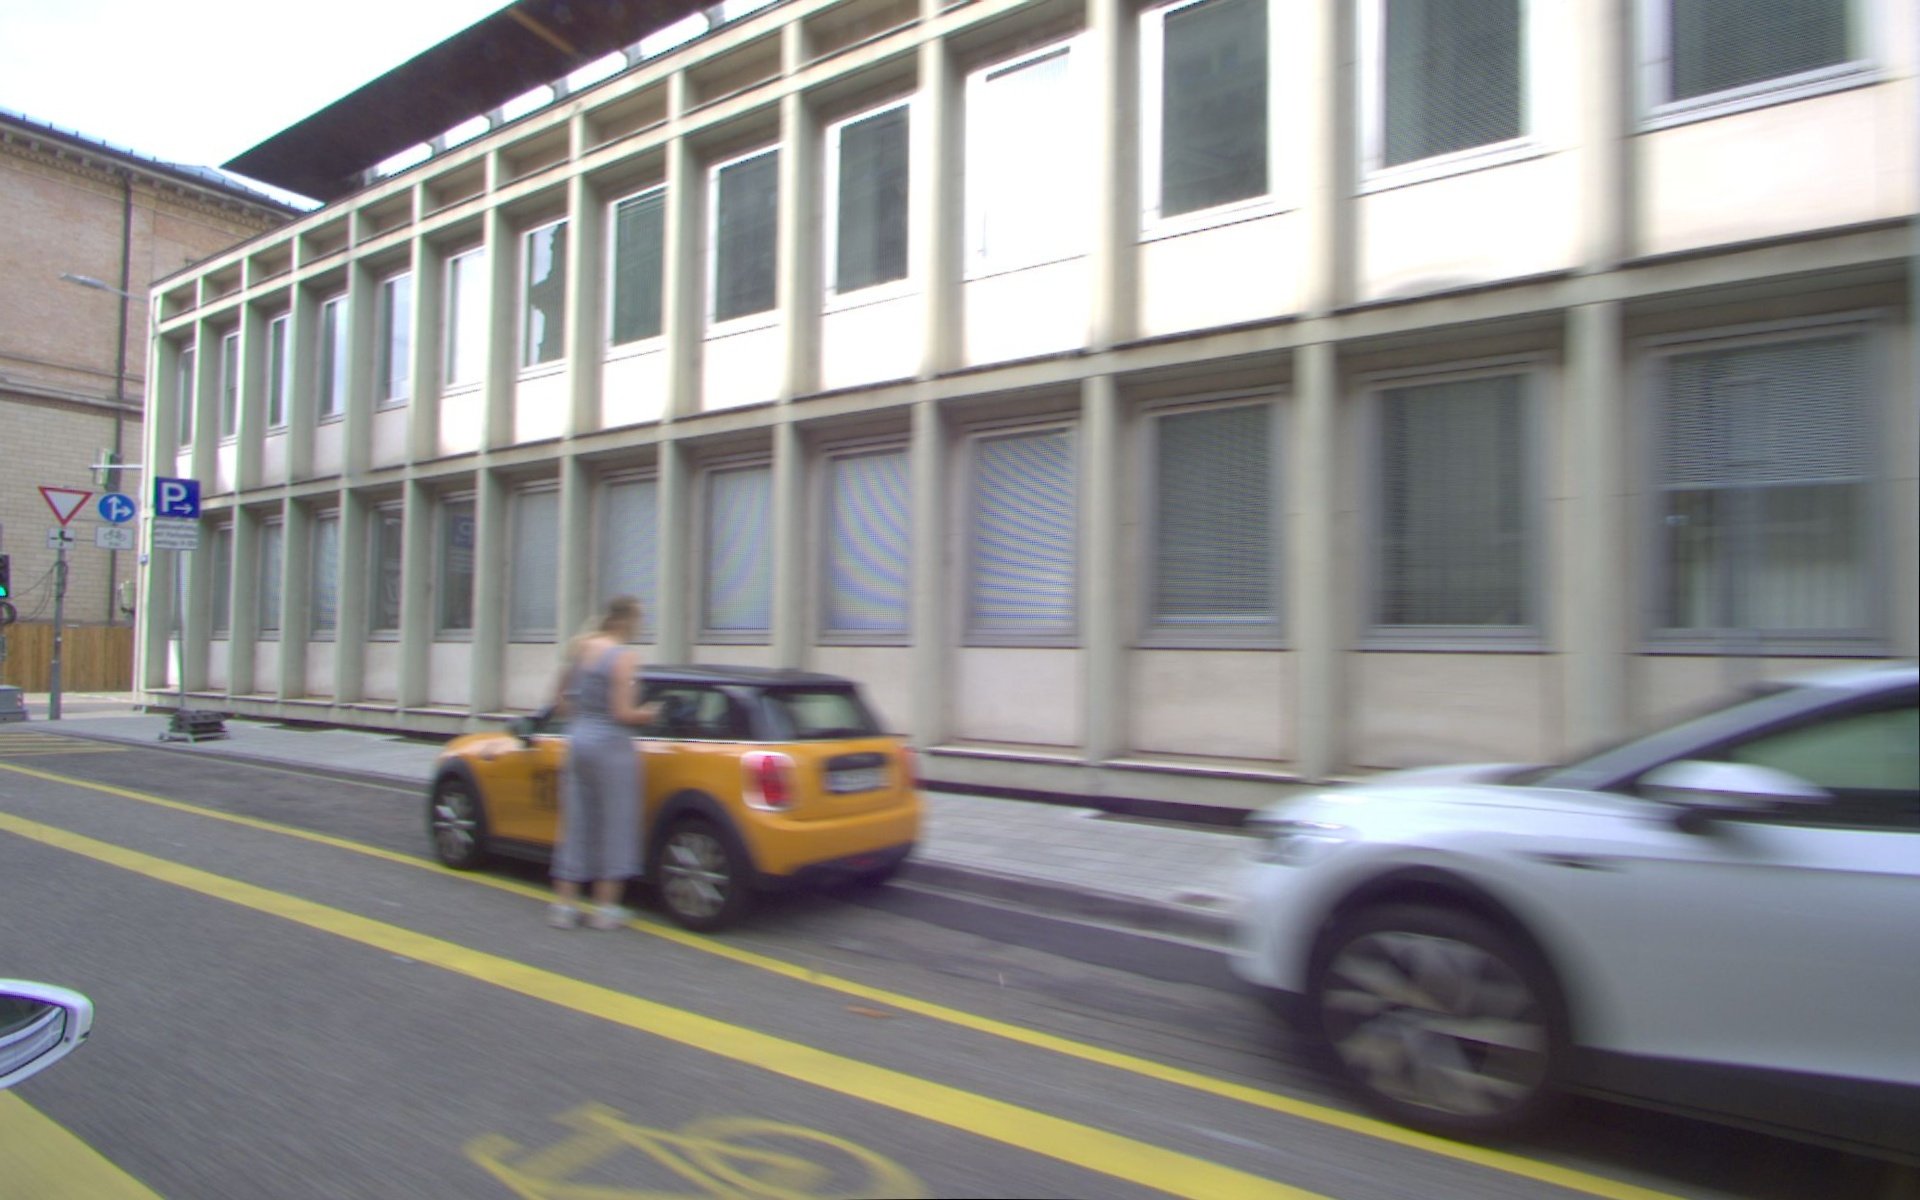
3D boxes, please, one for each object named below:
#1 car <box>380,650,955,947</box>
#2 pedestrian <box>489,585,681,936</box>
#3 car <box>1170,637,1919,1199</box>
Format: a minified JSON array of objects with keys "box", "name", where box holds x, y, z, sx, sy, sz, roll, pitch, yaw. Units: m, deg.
[{"box":[-2.101,1.139,6.860,3.834,1.451,1.678,-1,-6,35],"name":"car"},{"box":[-2.081,0.837,5.589,0.696,1.786,0.697,-1,-2,33],"name":"pedestrian"},{"box":[3.130,0.976,3.208,4.451,1.624,1.857,-1,-4,35],"name":"car"}]
